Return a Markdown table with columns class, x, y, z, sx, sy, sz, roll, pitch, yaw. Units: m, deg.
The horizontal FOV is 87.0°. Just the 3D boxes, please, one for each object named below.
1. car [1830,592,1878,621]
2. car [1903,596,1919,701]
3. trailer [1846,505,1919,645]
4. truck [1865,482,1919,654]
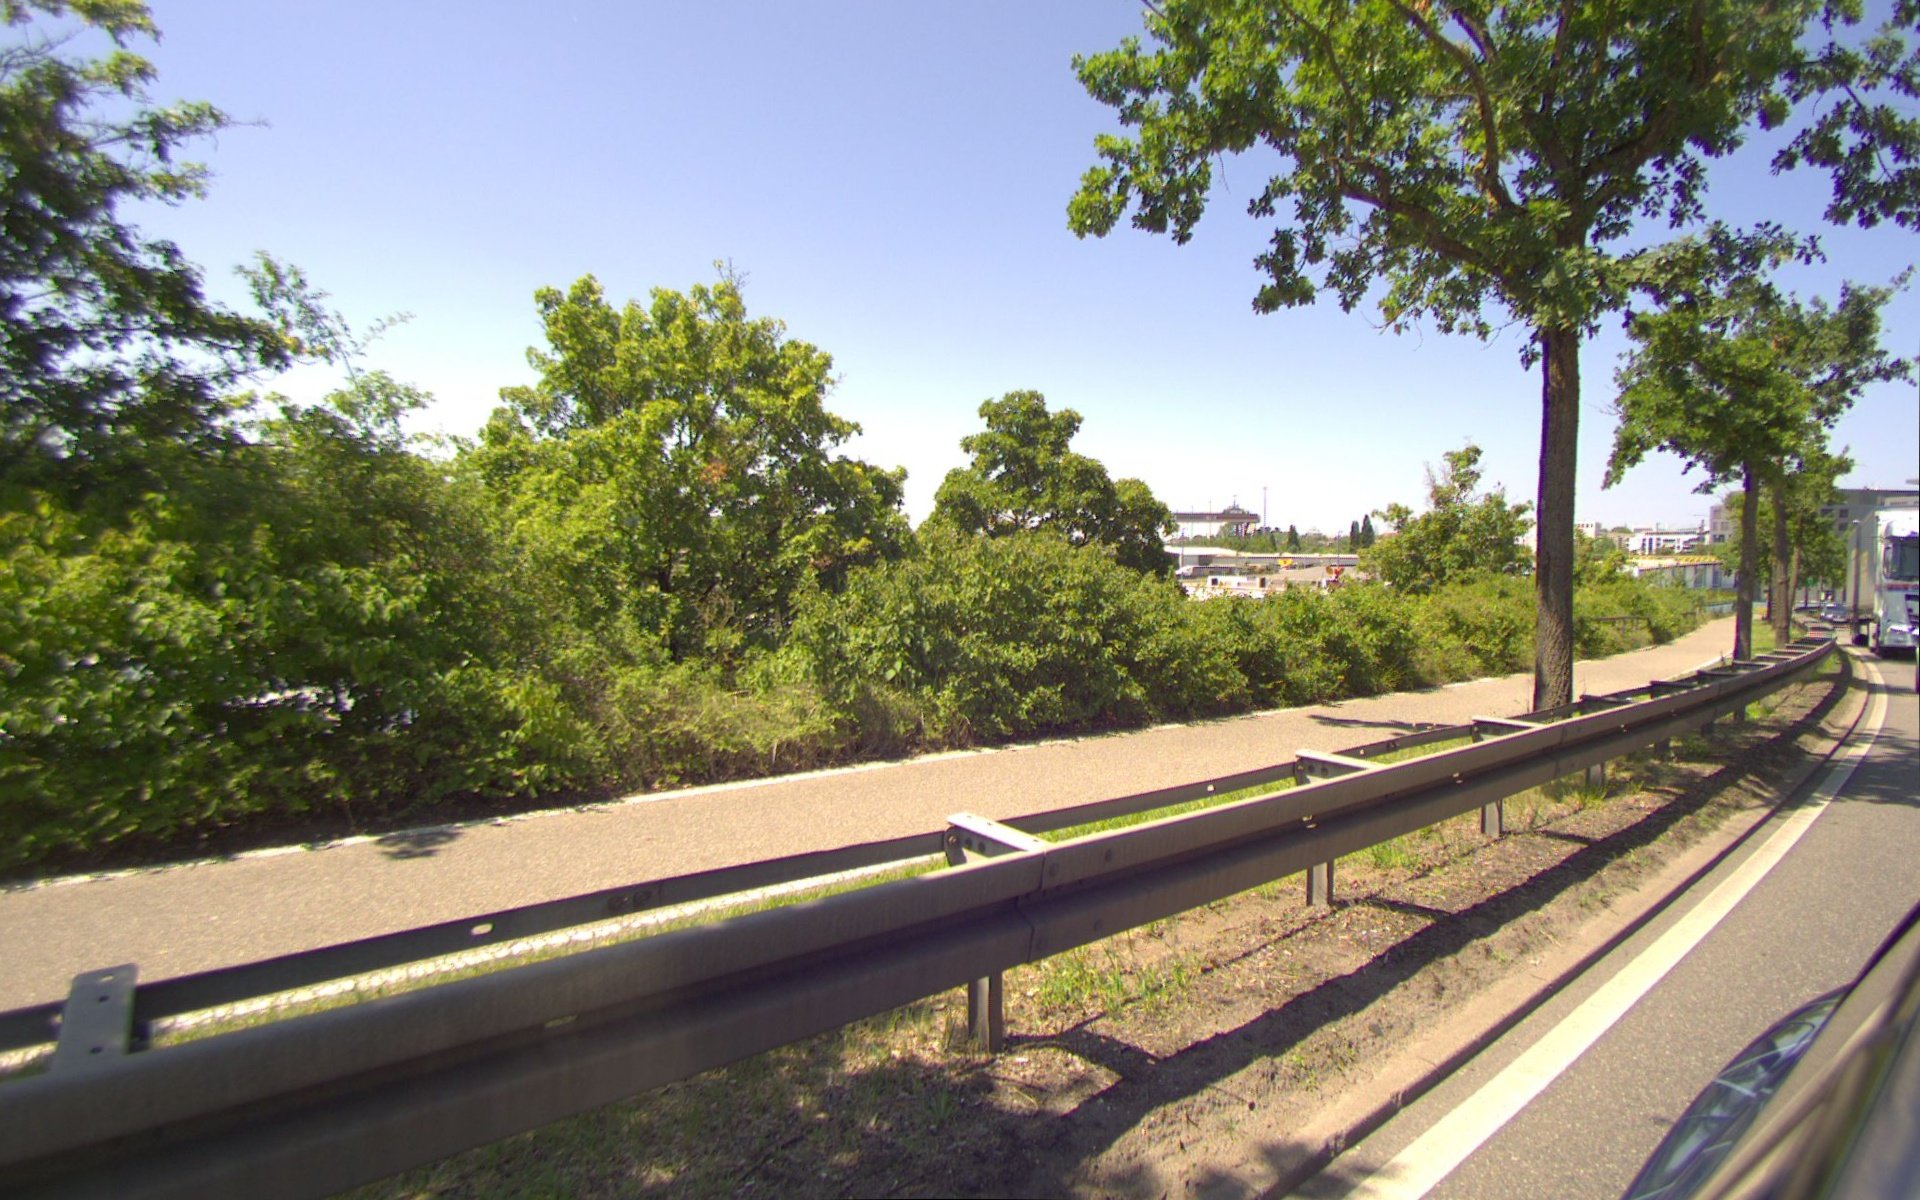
| class | x | y | z | sx | sy | sz | roll | pitch | yaw |
| --- | --- | --- | --- | --- | --- | --- | --- | --- | --- |
| car | 51.781 | 0.368 | 58.601 | 1.970 | 1.596 | 3.938 | 1 | 1 | 43 |
| car | 15.089 | 0.678 | 14.623 | 3.651 | 1.446 | 1.815 | 0 | 1 | -42 |
| trailer | 33.780 | -0.788 | 36.030 | 2.869 | 4.267 | 13.808 | 1 | 1 | 39 |
| truck | 27.548 | -0.811 | 28.309 | 2.845 | 4.323 | 8.692 | 1 | 0 | 39 |
